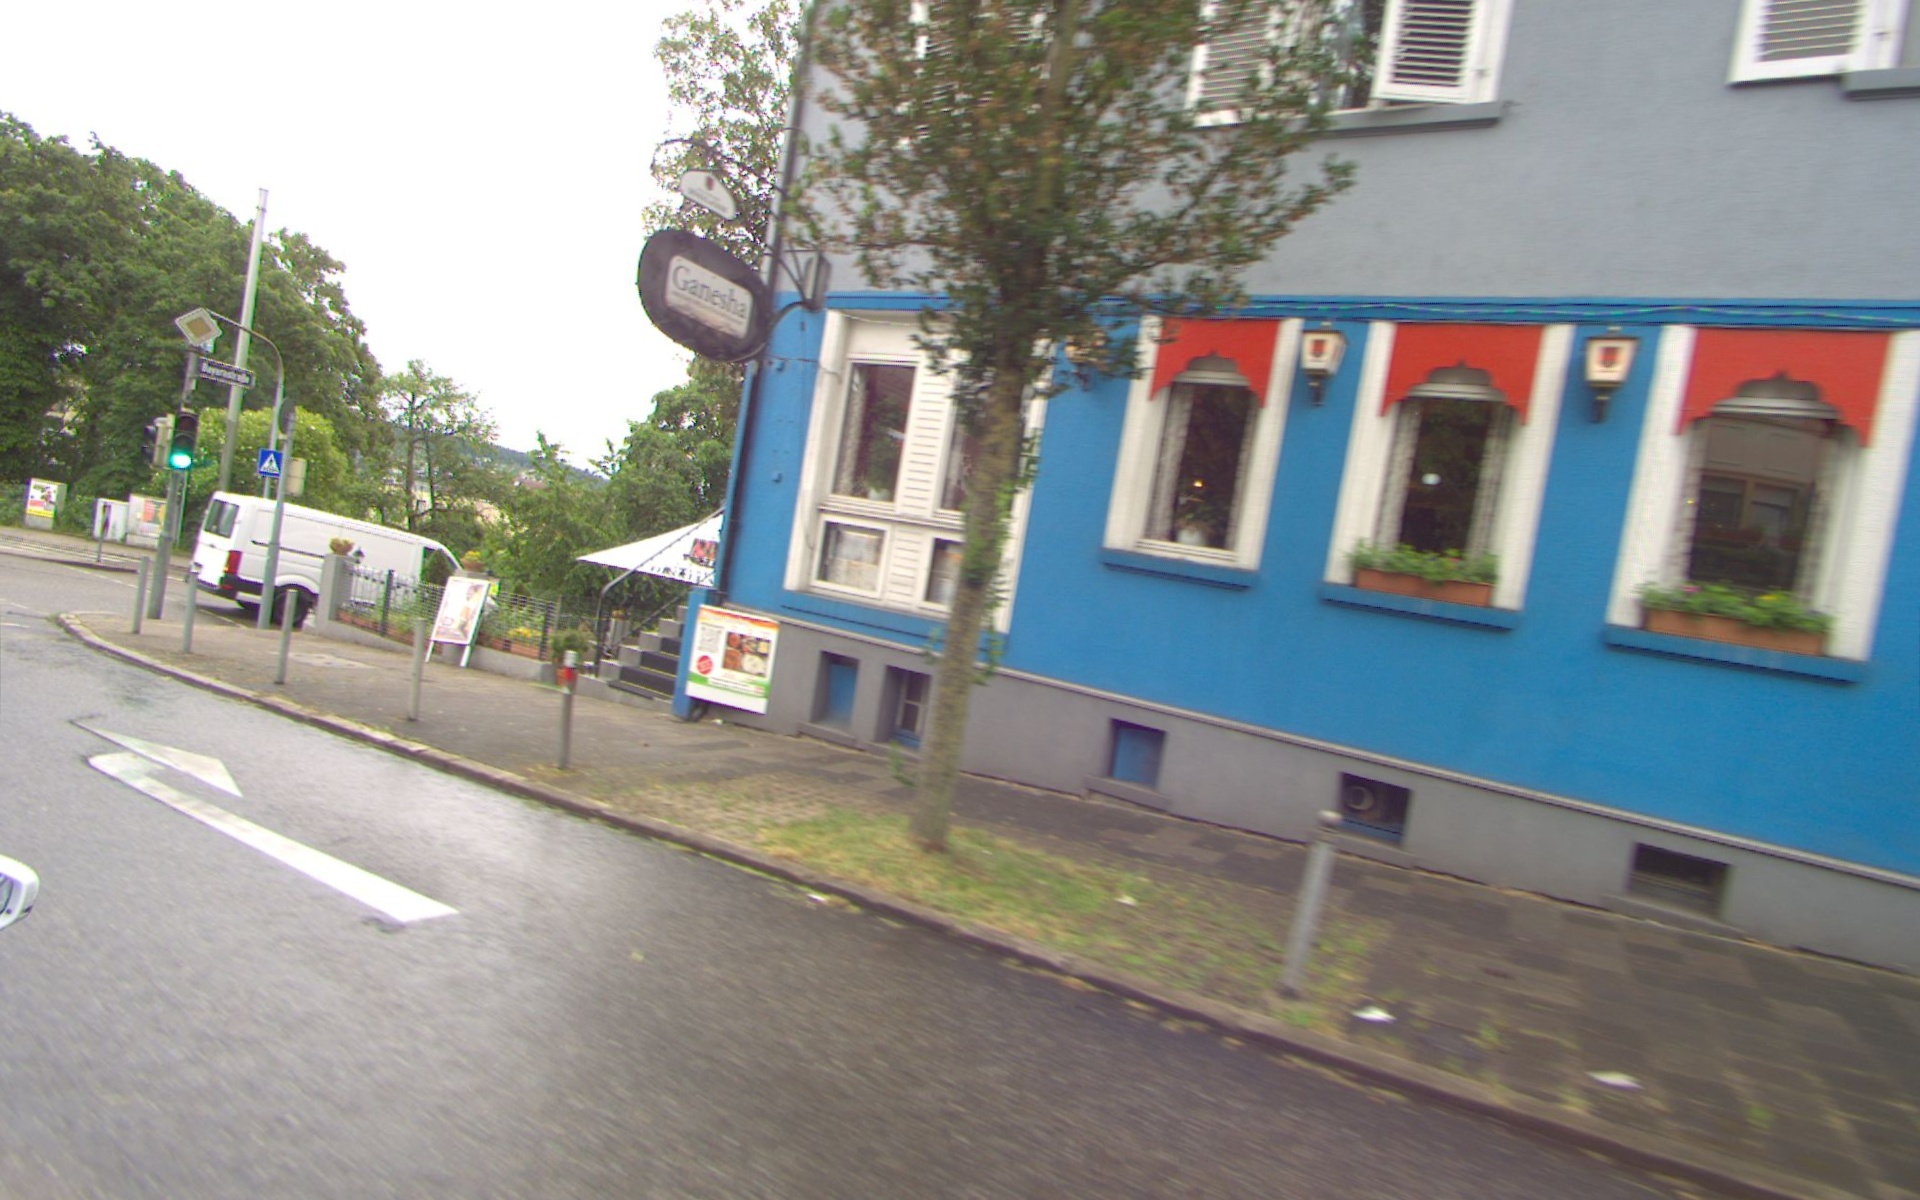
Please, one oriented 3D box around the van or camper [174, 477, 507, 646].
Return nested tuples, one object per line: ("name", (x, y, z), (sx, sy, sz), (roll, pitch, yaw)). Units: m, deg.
("van or camper", (-13.004, -0.694, 21.547), (2.077, 2.349, 5.415), (9, -4, 35))
